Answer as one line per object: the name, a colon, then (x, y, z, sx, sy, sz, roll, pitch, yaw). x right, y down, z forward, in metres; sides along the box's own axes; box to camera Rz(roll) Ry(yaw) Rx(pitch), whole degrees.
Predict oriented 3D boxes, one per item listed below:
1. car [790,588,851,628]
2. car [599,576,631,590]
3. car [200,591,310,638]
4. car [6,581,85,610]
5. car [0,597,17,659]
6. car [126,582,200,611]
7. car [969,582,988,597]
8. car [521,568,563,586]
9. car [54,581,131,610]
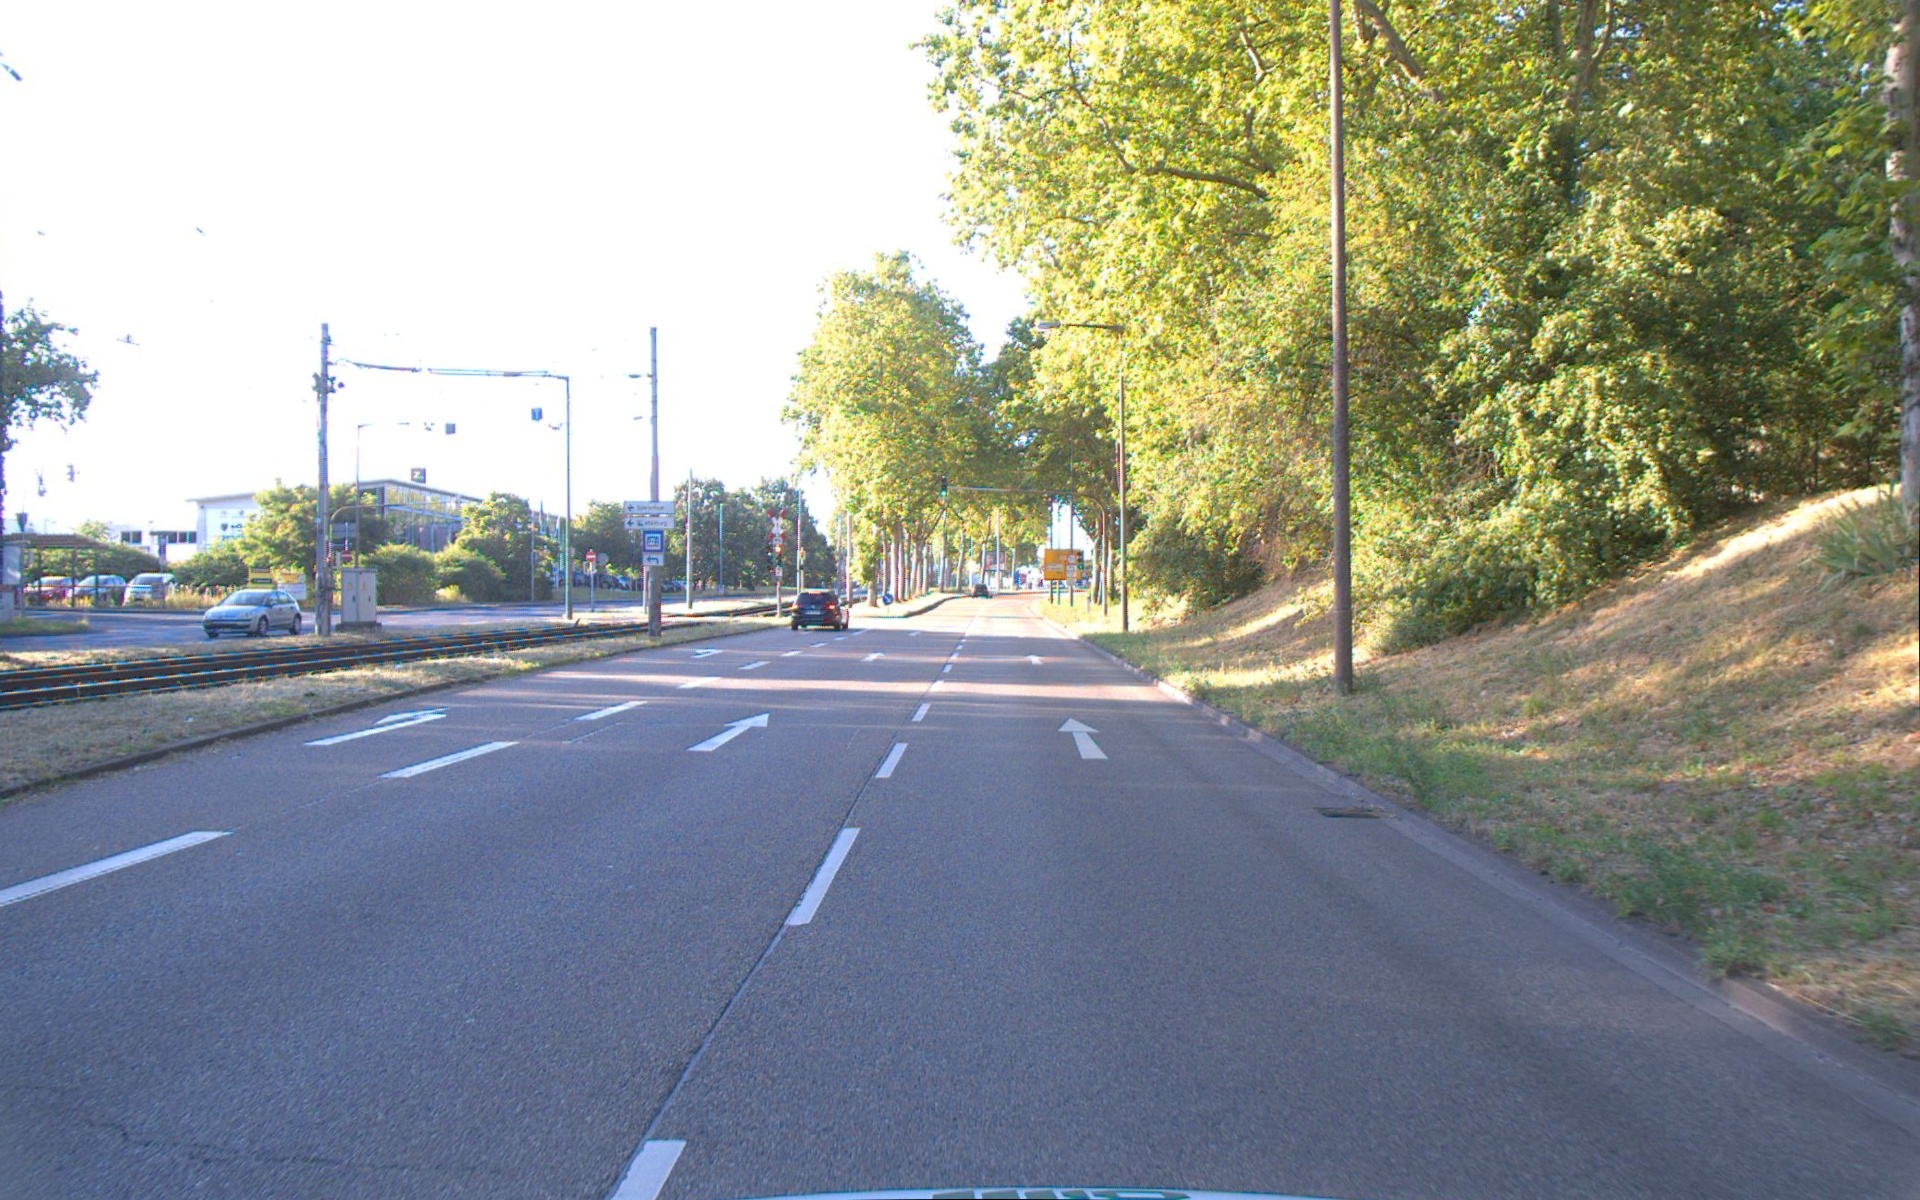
car: (-5.066, 0.286, 60.432, 1.755, 1.427, 3.690, 0, 0, 2)
car: (-36.788, -1.850, 176.357, 3.079, 1.416, 1.455, 1, 0, -3)
car: (-22.670, 0.445, 53.344, 1.619, 1.440, 4.259, 1, 0, 1)
car: (-49.405, -0.249, 89.456, 1.802, 1.467, 4.002, 1, 0, 4)
car: (-23.241, 0.645, 37.186, 1.619, 1.440, 4.258, 1, 0, 0)
car: (-42.957, -0.190, 89.214, 1.802, 1.467, 4.002, 1, 0, 4)
car: (1.904, -1.090, 168.329, 1.755, 1.427, 3.690, 1, 0, 2)
car: (-34.603, -1.916, 137.000, 3.079, 1.416, 1.455, 1, 0, -3)
car: (-46.693, -0.247, 89.104, 1.802, 1.467, 4.002, 1, 0, 4)
